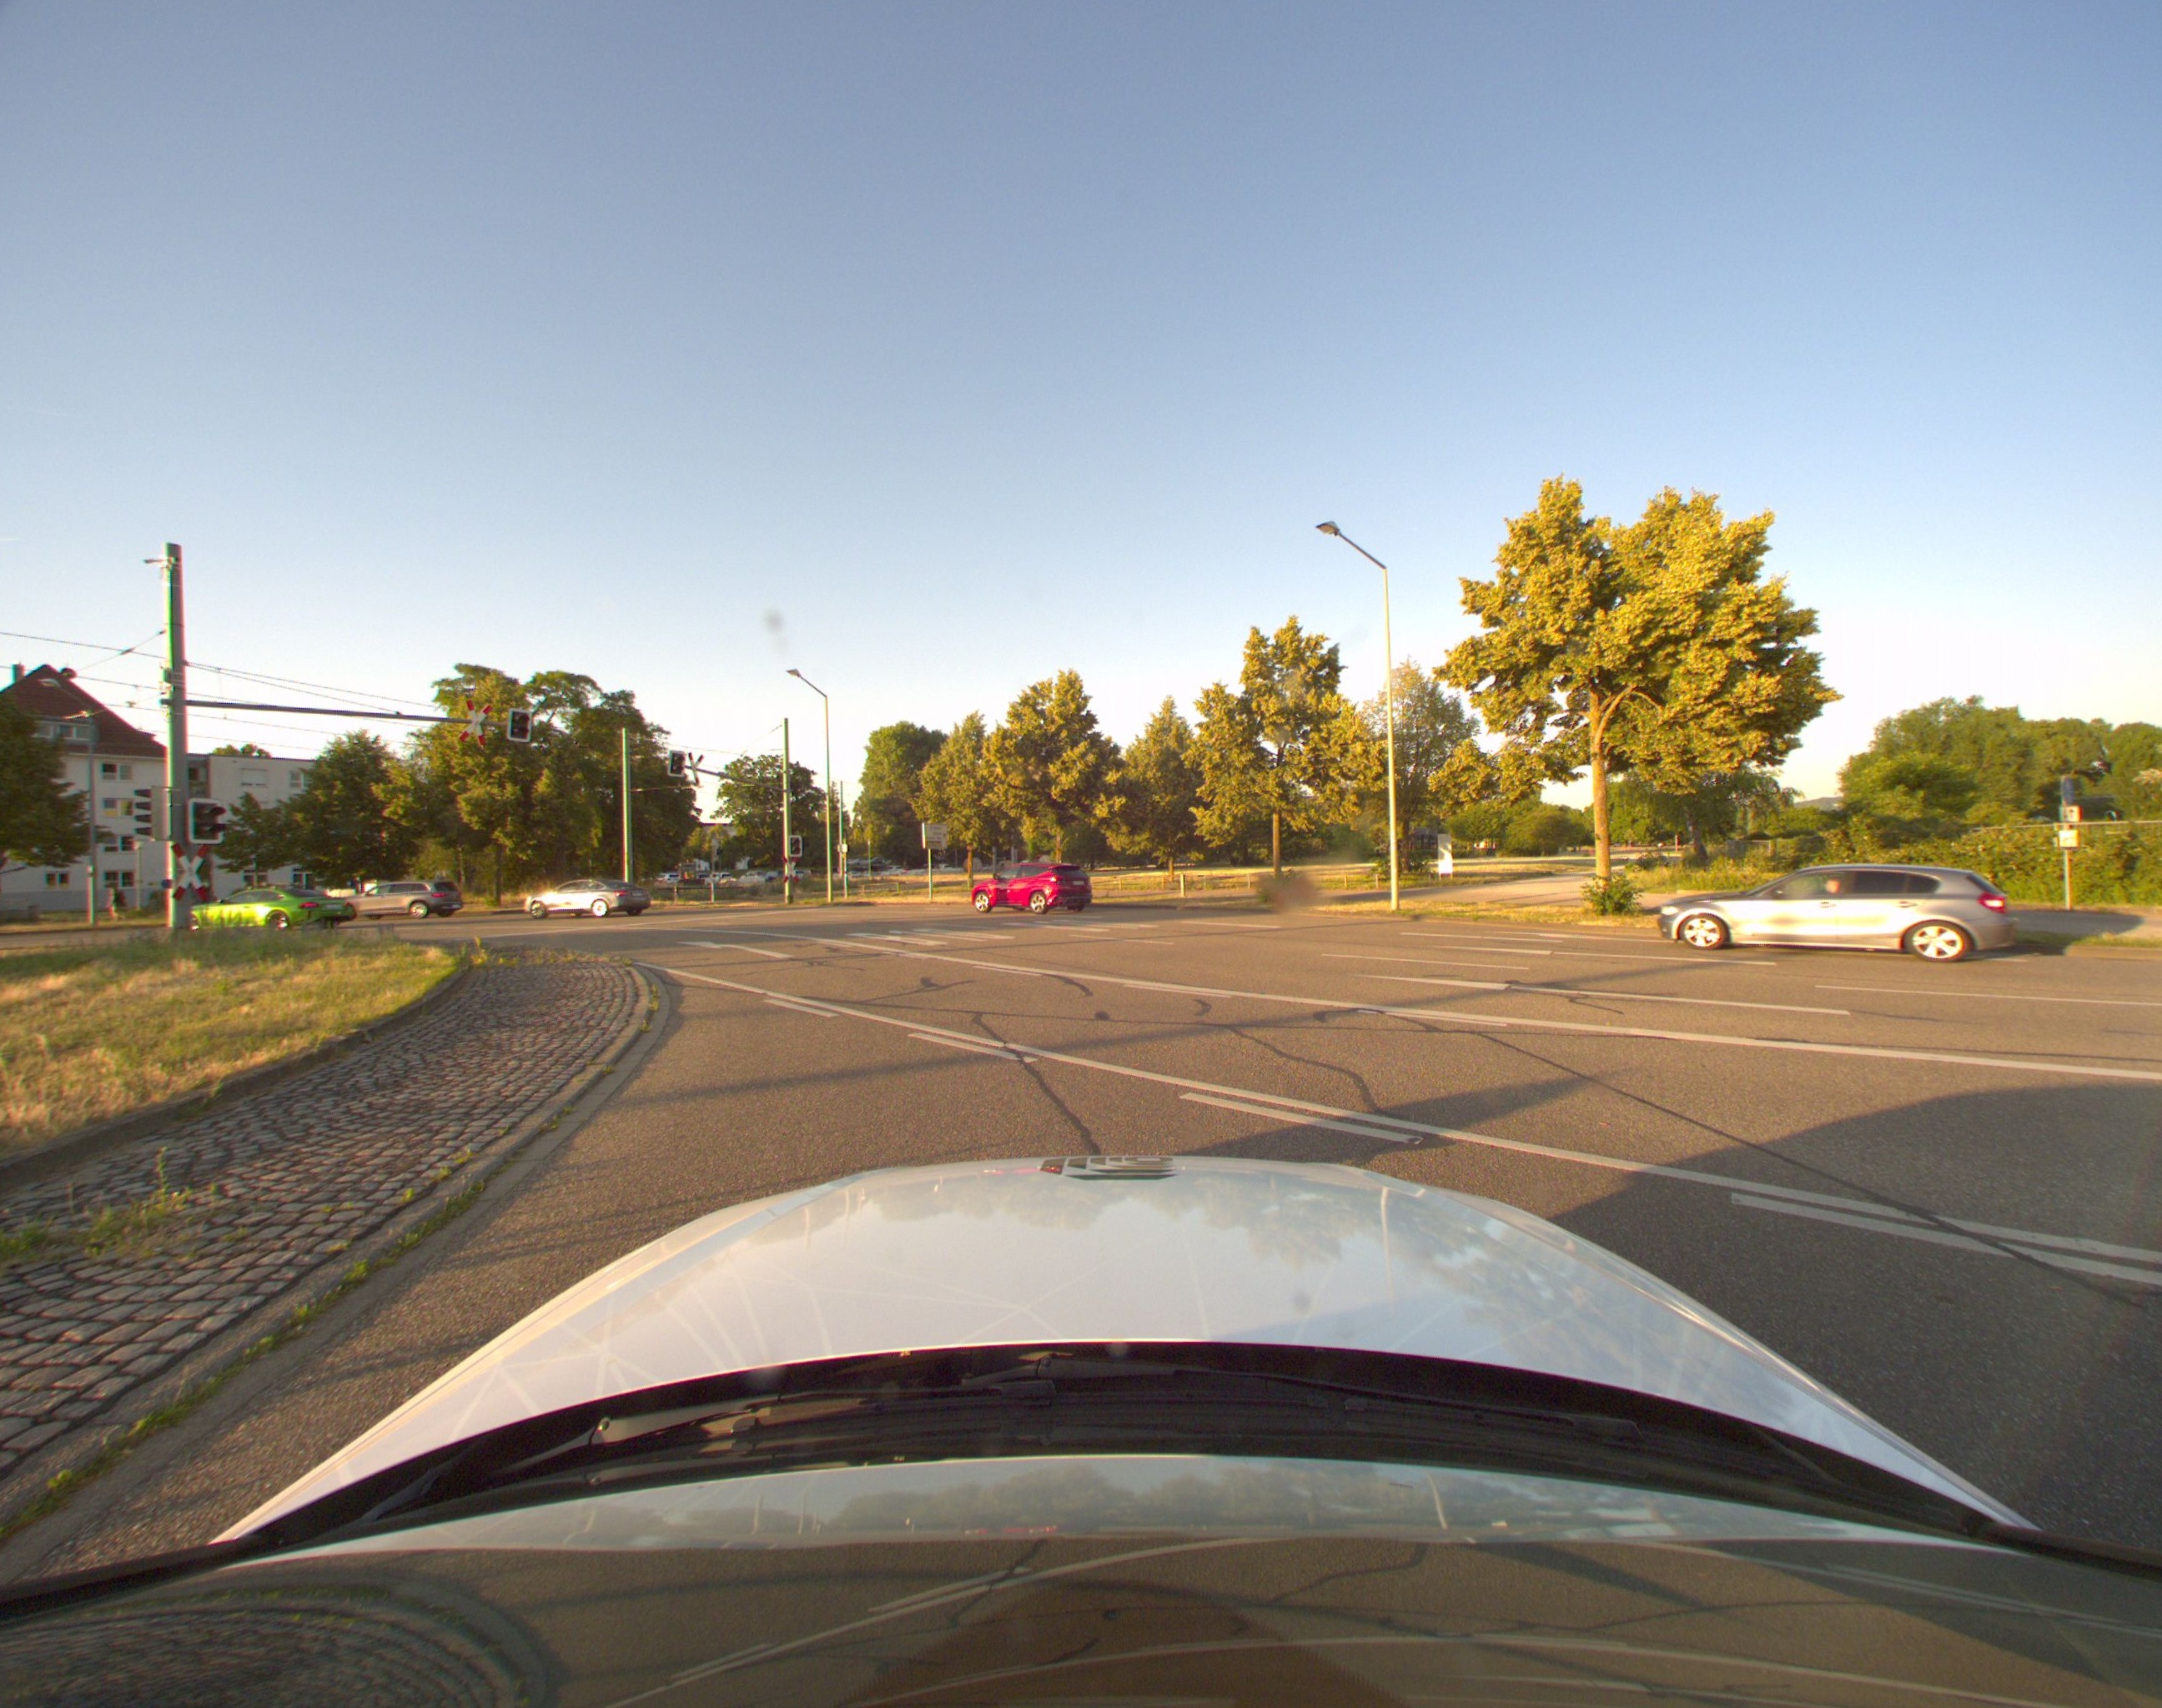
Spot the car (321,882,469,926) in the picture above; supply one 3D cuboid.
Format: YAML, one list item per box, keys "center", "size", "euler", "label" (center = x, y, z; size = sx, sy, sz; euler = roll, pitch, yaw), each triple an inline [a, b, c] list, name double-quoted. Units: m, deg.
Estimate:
- center: [-29.593, 2.140, 35.270]
  size: [4.506, 1.637, 1.995]
  euler: [-2, 0, -7]
  label: "car"

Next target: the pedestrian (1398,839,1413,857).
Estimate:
- center: [30.253, -0.535, 75.982]
  size: [1.064, 1.617, 0.911]
  euler: [-2, 0, 4]
  label: "pedestrian"

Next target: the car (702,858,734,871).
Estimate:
- center: [-61.920, 1.781, 139.073]
  size: [1.974, 2.013, 4.628]
  euler: [-2, 0, 36]
  label: "car"

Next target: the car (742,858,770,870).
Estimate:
- center: [-57.832, 1.796, 144.944]
  size: [1.974, 2.013, 4.143]
  euler: [-2, 0, 36]
  label: "car"

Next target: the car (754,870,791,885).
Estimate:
- center: [-35.503, 2.703, 93.681]
  size: [3.948, 1.604, 2.013]
  euler: [-2, 0, 34]
  label: "car"

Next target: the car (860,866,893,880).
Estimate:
- center: [-26.666, 2.477, 105.997]
  size: [3.948, 1.604, 2.013]
  euler: [-2, 0, 34]
  label: "car"

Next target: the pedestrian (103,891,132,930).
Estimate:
- center: [-47.621, 2.798, 40.266]
  size: [0.666, 1.893, 0.619]
  euler: [0, -1, -4]
  label: "pedestrian"

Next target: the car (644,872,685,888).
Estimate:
- center: [-42.648, 2.671, 83.335]
  size: [3.948, 1.604, 2.013]
  euler: [-2, 0, 34]
  label: "car"

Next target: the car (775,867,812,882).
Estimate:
- center: [-33.695, 2.443, 95.440]
  size: [3.948, 1.604, 2.013]
  euler: [-2, 0, 34]
  label: "car"

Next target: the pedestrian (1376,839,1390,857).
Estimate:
- center: [28.598, -0.575, 77.153]
  size: [1.064, 1.617, 0.911]
  euler: [-2, 0, 4]
  label: "pedestrian"

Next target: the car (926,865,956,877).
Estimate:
- center: [-19.987, 2.365, 116.491]
  size: [3.948, 1.604, 2.013]
  euler: [-2, 0, 34]
  label: "car"

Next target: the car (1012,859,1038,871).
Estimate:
- center: [-7.950, 1.516, 115.272]
  size: [1.748, 1.618, 3.954]
  euler: [-1, 0, -39]
  label: "car"

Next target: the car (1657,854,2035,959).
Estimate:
- center: [11.817, 0.750, 12.949]
  size: [4.110, 1.390, 1.879]
  euler: [-2, -1, 42]
  label: "car"

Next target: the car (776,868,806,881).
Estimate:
- center: [-41.295, 2.875, 116.006]
  size: [4.001, 1.662, 1.889]
  euler: [-2, 0, -20]
  label: "car"

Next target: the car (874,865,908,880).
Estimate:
- center: [-27.646, 2.676, 118.522]
  size: [4.578, 2.013, 1.995]
  euler: [-2, 0, -7]
  label: "car"

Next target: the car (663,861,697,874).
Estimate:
- center: [-65.659, 2.226, 133.335]
  size: [1.974, 2.013, 4.627]
  euler: [-2, 0, 32]
  label: "car"

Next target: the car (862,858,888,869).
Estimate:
- center: [-37.954, 1.768, 150.053]
  size: [1.975, 2.013, 4.025]
  euler: [-2, 0, 42]
  label: "car"

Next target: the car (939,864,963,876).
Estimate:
- center: [-20.835, 2.520, 129.999]
  size: [2.008, 1.752, 4.549]
  euler: [-1, 1, -35]
  label: "car"

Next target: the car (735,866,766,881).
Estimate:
- center: [-47.996, 2.769, 118.221]
  size: [4.006, 2.013, 1.984]
  euler: [-2, 0, -24]
  label: "car"

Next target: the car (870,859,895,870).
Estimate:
- center: [-35.678, 1.879, 146.447]
  size: [3.964, 1.706, 2.005]
  euler: [-2, 0, 8]
  label: "car"

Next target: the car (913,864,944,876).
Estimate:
- center: [-21.462, 2.308, 114.797]
  size: [3.948, 1.604, 2.013]
  euler: [-2, 0, 34]
  label: "car"

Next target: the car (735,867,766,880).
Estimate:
- center: [-46.224, 2.777, 113.954]
  size: [4.005, 1.662, 1.984]
  euler: [-2, 0, -24]
  label: "car"

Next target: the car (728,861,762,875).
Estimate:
- center: [-51.877, 2.115, 125.814]
  size: [1.974, 2.013, 4.627]
  euler: [-2, 0, 32]
  label: "car"

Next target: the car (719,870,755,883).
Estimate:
- center: [-46.109, 3.008, 109.155]
  size: [1.878, 1.662, 4.026]
  euler: [-2, 0, 37]
  label: "car"

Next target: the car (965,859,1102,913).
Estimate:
- center: [-1.630, 1.016, 26.714]
  size: [4.360, 1.573, 2.012]
  euler: [-2, 0, 43]
  label: "car"

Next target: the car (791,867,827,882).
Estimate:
- center: [-32.630, 2.453, 97.620]
  size: [3.948, 1.604, 2.013]
  euler: [-2, 0, 34]
  label: "car"

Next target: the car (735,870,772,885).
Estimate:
- center: [-37.047, 2.701, 92.072]
  size: [3.948, 1.604, 2.013]
  euler: [-2, 0, 34]
  label: "car"

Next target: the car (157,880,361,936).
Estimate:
- center: [-26.712, 1.722, 26.606]
  size: [4.460, 1.579, 1.998]
  euler: [-2, 0, -3]
  label: "car"

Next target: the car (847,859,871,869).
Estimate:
- center: [-41.743, 1.878, 153.032]
  size: [1.974, 1.816, 4.026]
  euler: [-2, 0, 37]
  label: "car"

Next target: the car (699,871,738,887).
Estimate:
- center: [-39.017, 2.679, 87.552]
  size: [3.948, 1.604, 2.013]
  euler: [-2, 0, 34]
  label: "car"

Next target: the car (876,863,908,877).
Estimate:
- center: [-29.372, 2.407, 126.710]
  size: [4.578, 2.013, 1.995]
  euler: [-2, 0, -7]
  label: "car"

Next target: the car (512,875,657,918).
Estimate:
- center: [-18.909, 1.619, 31.068]
  size: [4.623, 1.464, 1.893]
  euler: [-2, 0, 12]
  label: "car"
